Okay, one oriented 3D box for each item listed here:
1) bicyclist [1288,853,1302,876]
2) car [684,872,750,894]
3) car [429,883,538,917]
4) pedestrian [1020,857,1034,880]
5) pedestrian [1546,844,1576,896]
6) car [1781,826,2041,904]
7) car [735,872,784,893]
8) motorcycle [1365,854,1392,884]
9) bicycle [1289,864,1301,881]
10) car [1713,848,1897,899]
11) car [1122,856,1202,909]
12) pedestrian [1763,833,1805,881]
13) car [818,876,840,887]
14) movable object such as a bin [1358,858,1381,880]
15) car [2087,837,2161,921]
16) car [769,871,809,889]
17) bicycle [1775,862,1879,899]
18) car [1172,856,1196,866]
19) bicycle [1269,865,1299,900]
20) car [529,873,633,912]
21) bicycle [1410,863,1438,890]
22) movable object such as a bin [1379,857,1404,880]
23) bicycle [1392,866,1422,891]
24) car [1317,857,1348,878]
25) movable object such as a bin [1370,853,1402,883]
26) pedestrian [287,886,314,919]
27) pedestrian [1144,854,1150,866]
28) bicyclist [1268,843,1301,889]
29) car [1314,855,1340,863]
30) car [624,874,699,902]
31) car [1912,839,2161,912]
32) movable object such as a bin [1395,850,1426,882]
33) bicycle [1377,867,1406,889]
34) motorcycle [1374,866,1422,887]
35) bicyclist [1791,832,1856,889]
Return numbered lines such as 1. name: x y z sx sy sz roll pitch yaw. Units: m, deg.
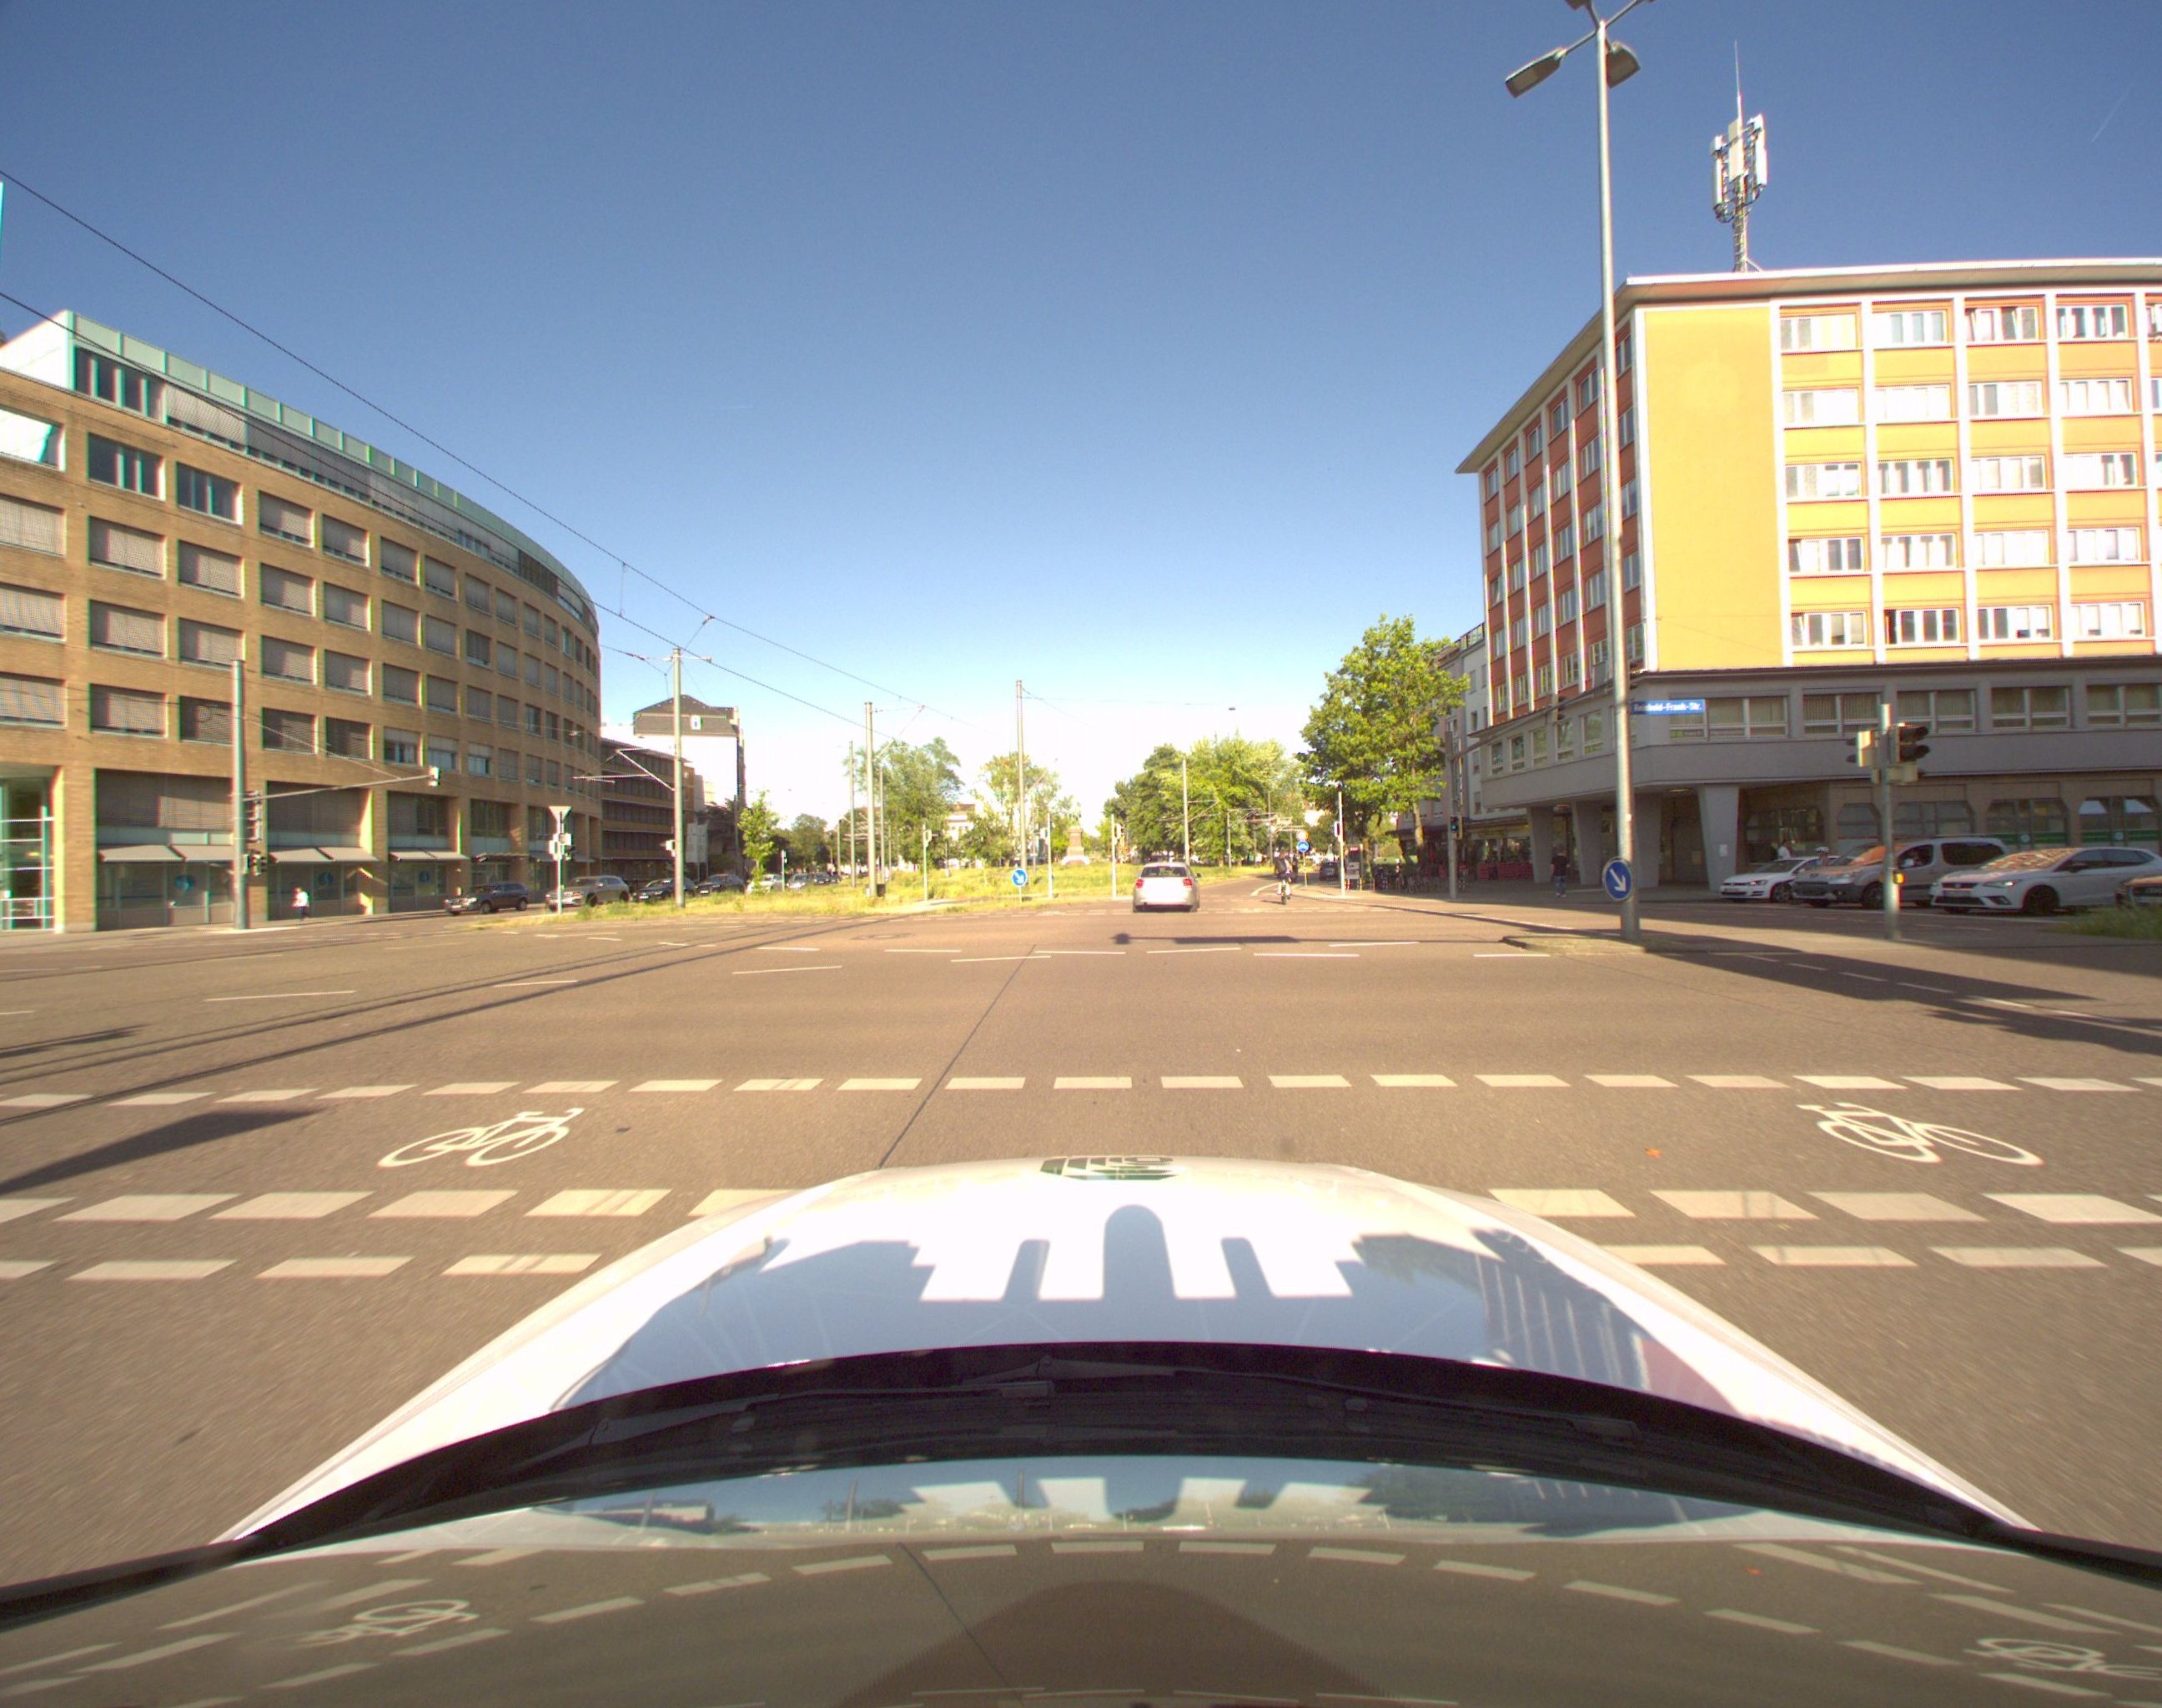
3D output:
1. bicyclist: 15.372 0.749 58.564 0.932 1.633 0.939 0 -1 14
2. car: -25.056 1.974 56.231 1.985 1.447 5.024 0 -1 4
3. car: -32.911 2.489 45.122 2.110 1.668 5.211 0 -1 1
4. pedestrian: -4.043 1.086 61.083 0.727 1.671 0.749 -2 -1 26
5. pedestrian: 17.365 0.565 29.488 0.818 1.844 0.896 0 -1 23
6. car: 20.728 0.288 20.492 4.571 1.850 1.947 0 -1 0
7. car: -24.961 2.176 63.436 1.987 1.596 4.654 0 -1 0
8. motorcycle: 15.589 0.752 42.688 0.798 1.539 2.550 0 0 8
9. bicycle: 15.359 1.353 58.500 0.813 1.185 1.972 0 -1 14
10. car: 22.507 0.636 25.439 4.137 1.503 1.844 0 -3 -1
11. car: 2.466 0.795 23.828 1.981 1.423 4.208 0 -1 10
12. pedestrian: 26.297 0.117 30.467 0.859 1.779 0.892 1 -1 -26
13. car: -36.371 4.011 117.712 1.989 1.513 4.276 -1 -4 -3
14. movable object such as a bin: 17.856 0.908 50.439 1.167 1.356 0.928 0 -1 2
15. car: 21.008 0.447 14.154 4.121 1.469 1.980 0 -1 11
16. car: -24.871 2.219 69.584 1.989 1.427 4.504 0 -1 -3
17. bicycle: 20.796 0.731 22.732 2.135 1.001 0.860 0 -1 -1
18. car: 23.263 1.647 183.838 5.315 2.314 2.001 0 -1 2
19. bicycle: 6.877 0.953 27.501 0.879 1.136 2.238 0 -1 16
20. car: -24.947 1.873 40.912 2.093 1.734 5.084 -1 0 -1
21. bicycle: 15.995 1.045 37.978 0.530 1.244 1.847 0 -1 0
22. movable object such as a bin: 19.260 0.921 50.561 1.208 1.391 0.960 0 -1 2
23. bicycle: 15.017 1.123 37.554 0.474 1.117 2.118 0 -1 -2
24. car: 19.033 0.997 61.528 1.750 1.438 4.608 -2 -1 23
25. movable object such as a bin: 16.846 0.775 45.030 1.376 1.640 1.008 -1 -1 0
26. pedestrian: -37.578 2.316 39.214 0.593 1.532 0.714 0 -1 9
27. pedestrian: 8.662 0.801 106.621 0.676 1.616 0.550 1 -2 -27
28. bicyclist: 6.864 0.405 27.456 1.030 1.484 0.992 0 -1 16
29. car: 55.442 1.181 183.898 5.249 1.800 2.162 0 -1 -2
30. car: -24.777 1.993 48.316 1.987 1.517 4.661 0 -1 0
31. car: 20.503 0.448 17.242 3.975 1.440 1.848 0 -1 -1
32. movable object such as a bin: 18.170 0.676 44.939 1.251 1.709 0.945 -2 -2 0
33. bicycle: 14.311 1.091 37.561 0.474 0.984 2.118 0 -1 -2
34. motorcycle: 15.825 1.101 40.657 2.088 1.022 0.762 0 -1 2
35. bicyclist: 20.719 0.181 22.750 0.930 1.560 0.941 0 -1 -1
